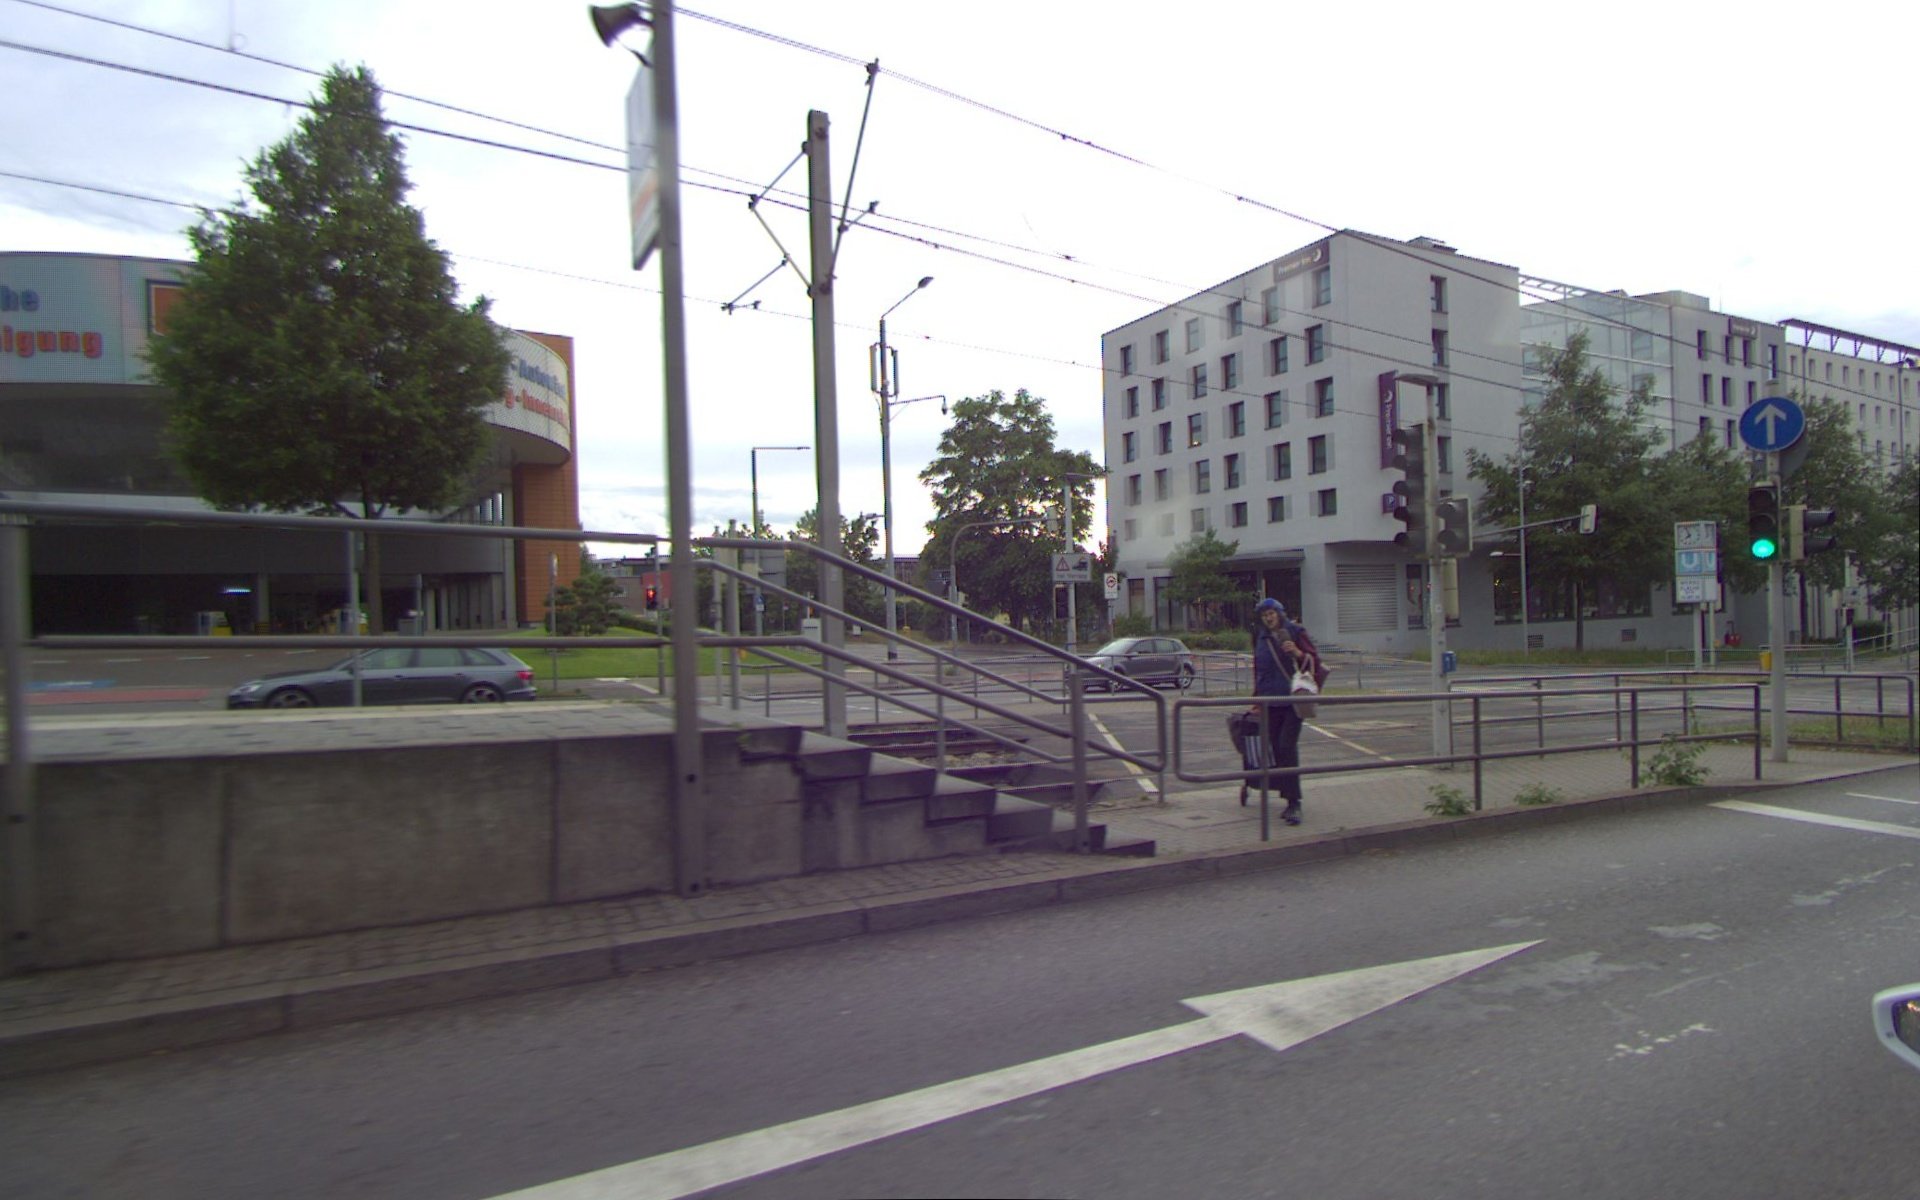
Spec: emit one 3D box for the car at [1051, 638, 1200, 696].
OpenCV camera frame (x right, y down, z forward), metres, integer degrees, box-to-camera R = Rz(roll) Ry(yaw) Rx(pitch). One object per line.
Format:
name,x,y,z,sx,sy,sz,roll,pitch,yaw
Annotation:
car,4.481,1.748,27.095,3.735,1.442,1.720,1,-1,-31

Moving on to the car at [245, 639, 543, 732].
car,-9.781,1.419,17.600,4.341,1.446,1.843,1,-3,-33

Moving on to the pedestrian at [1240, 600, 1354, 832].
pedestrian,2.592,0.842,7.708,0.690,1.672,0.648,1,0,32
